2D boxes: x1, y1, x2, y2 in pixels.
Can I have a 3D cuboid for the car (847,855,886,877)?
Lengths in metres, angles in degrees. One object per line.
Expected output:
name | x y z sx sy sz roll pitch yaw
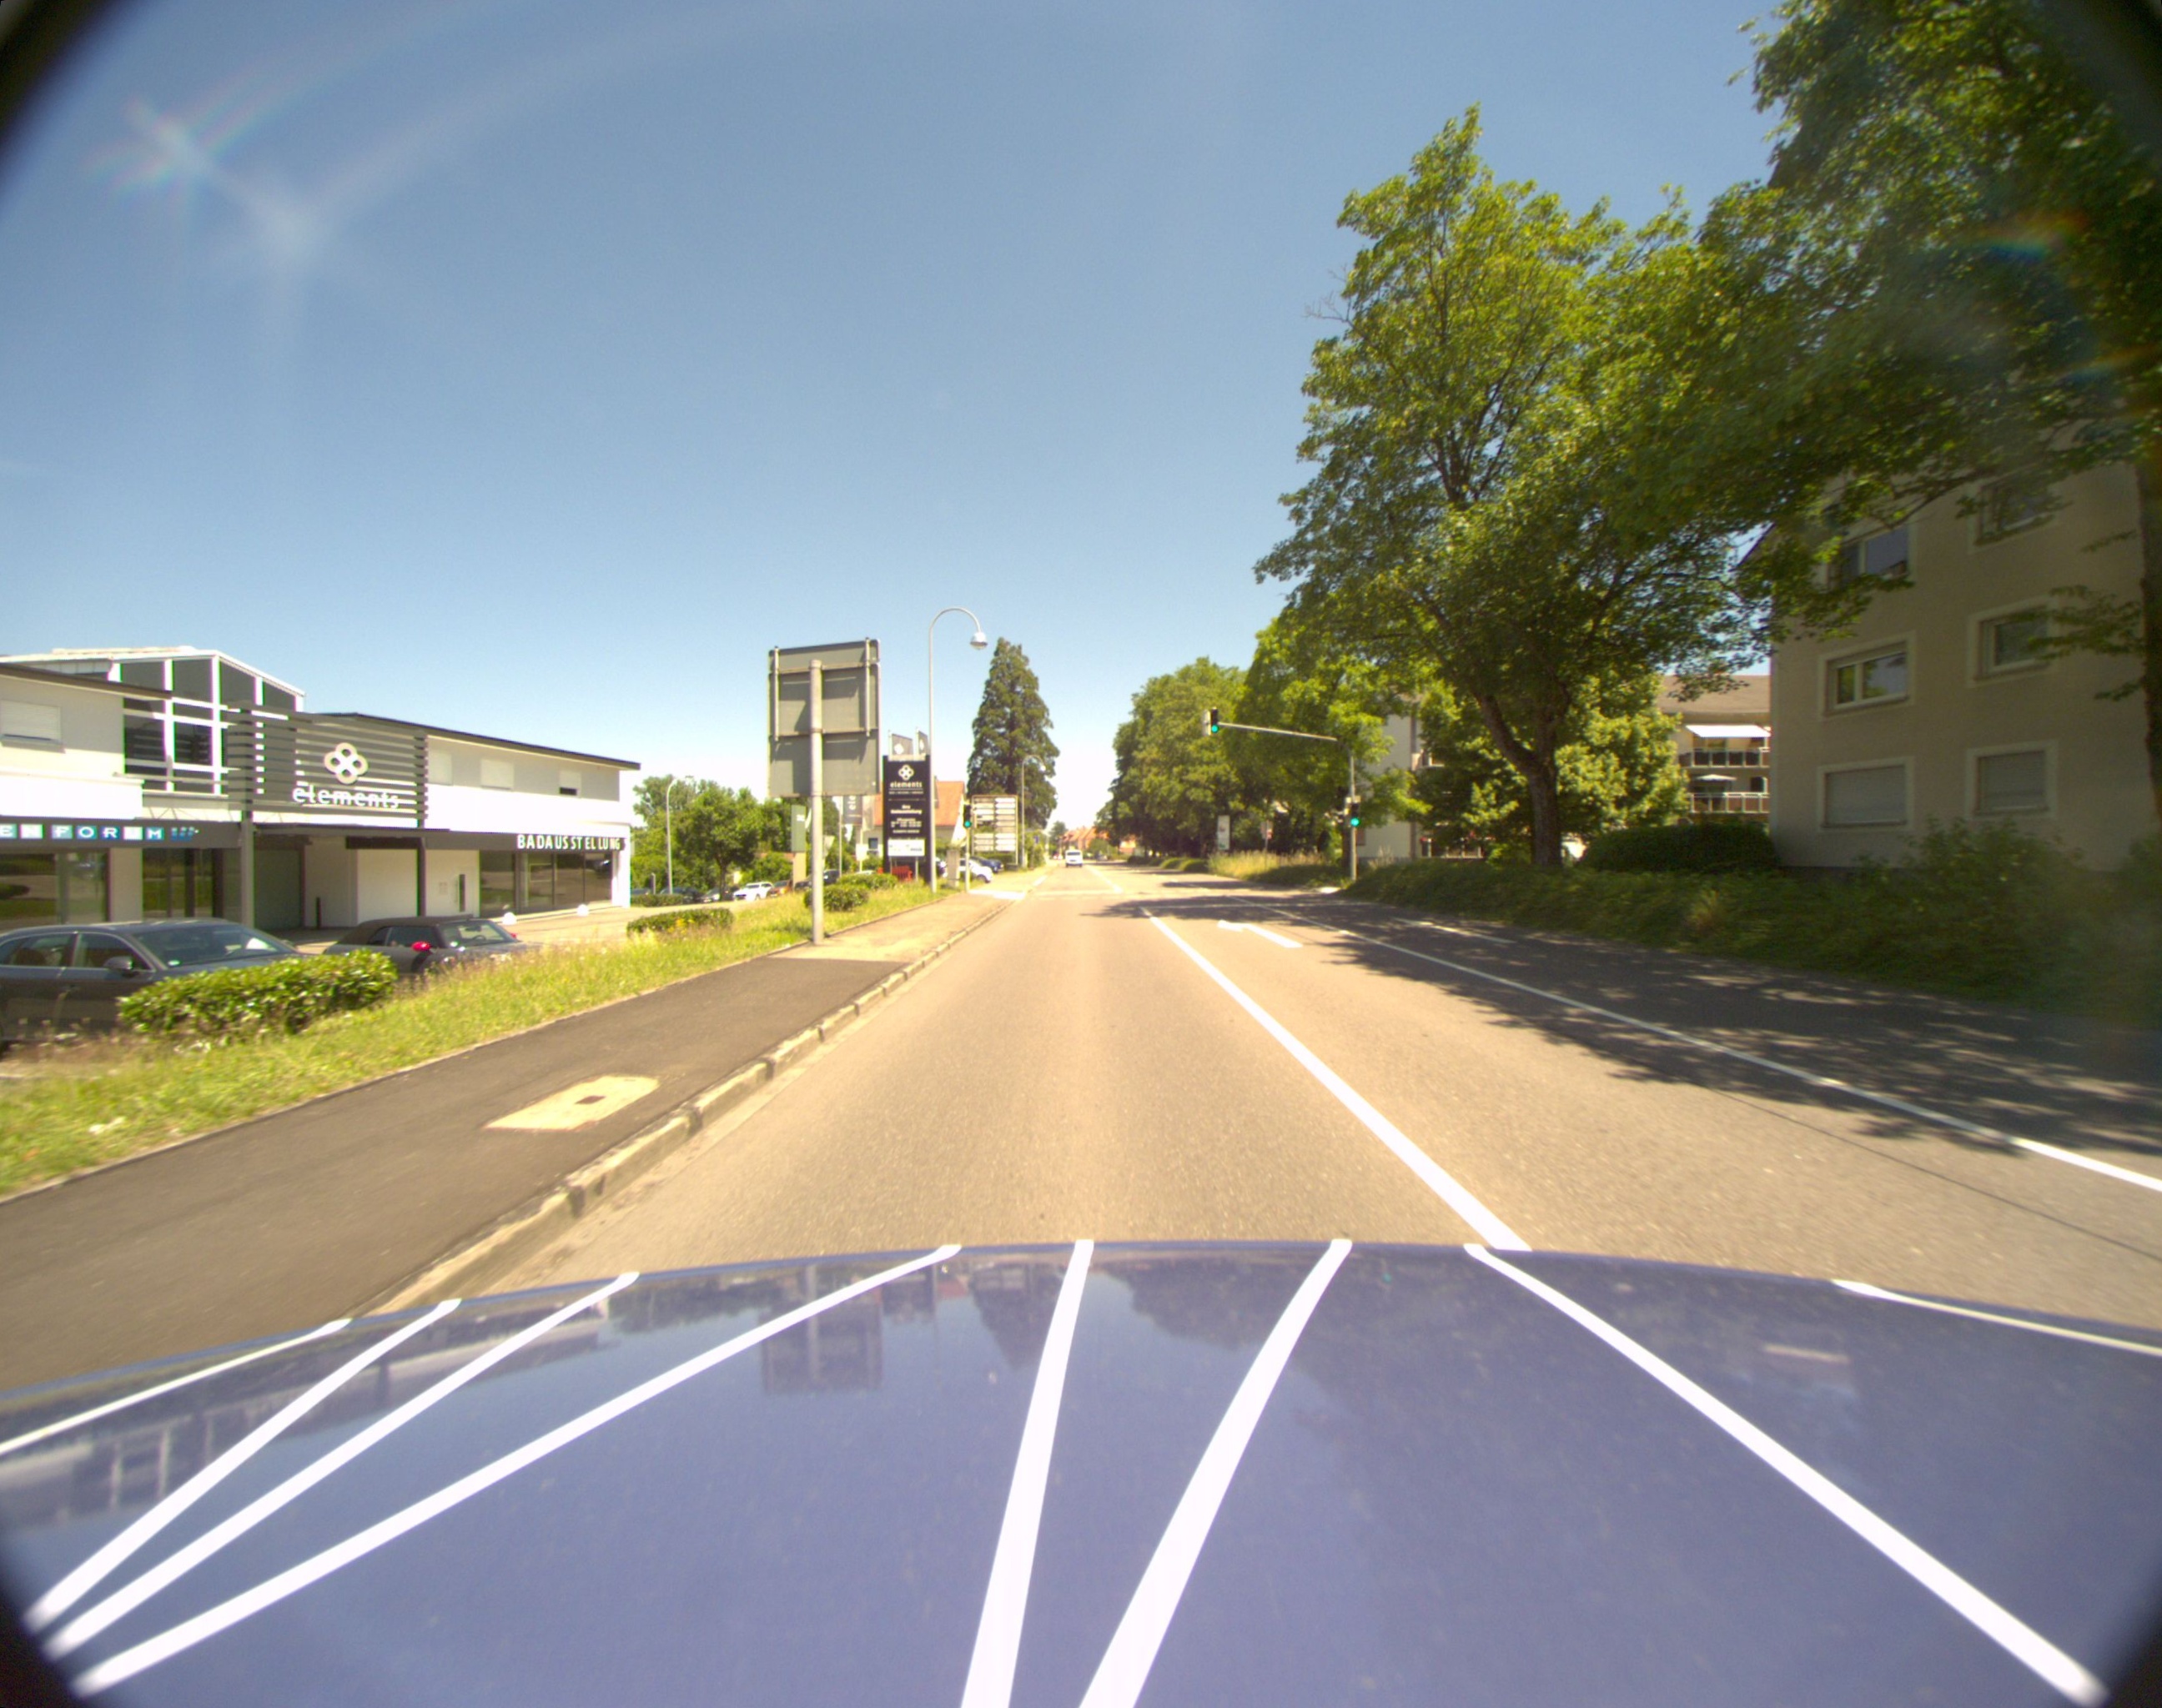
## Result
car | -16.786 0.929 59.629 1.697 1.635 3.701 -1 0 6

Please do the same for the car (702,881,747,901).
car | -28.884 2.951 61.629 1.776 1.426 3.700 -1 0 2

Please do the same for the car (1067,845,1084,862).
car | -0.620 -0.046 87.731 1.796 1.904 3.640 -1 1 0

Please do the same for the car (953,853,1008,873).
car | -7.255 0.659 55.052 3.637 1.375 1.627 -1 1 2

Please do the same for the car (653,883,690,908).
car | -28.411 2.833 52.664 1.870 1.499 3.990 -3 1 -33

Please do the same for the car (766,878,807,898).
car | -23.713 2.721 61.334 1.776 1.426 3.699 -1 0 1

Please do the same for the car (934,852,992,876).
car | -8.091 0.680 52.182 3.637 1.542 1.627 -1 1 2

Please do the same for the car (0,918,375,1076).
car | -12.342 1.778 9.876 4.605 1.654 1.884 -1 1 2

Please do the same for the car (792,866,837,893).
car | -18.155 1.692 51.987 1.698 1.635 3.699 -2 1 1

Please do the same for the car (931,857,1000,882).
car | -6.601 0.873 43.562 3.637 1.375 1.627 -1 1 2

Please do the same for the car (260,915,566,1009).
car | -11.606 1.861 13.371 3.975 1.375 1.627 -1 1 2

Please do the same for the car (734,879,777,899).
car | -26.447 2.858 61.833 1.835 1.426 3.699 -1 0 1
